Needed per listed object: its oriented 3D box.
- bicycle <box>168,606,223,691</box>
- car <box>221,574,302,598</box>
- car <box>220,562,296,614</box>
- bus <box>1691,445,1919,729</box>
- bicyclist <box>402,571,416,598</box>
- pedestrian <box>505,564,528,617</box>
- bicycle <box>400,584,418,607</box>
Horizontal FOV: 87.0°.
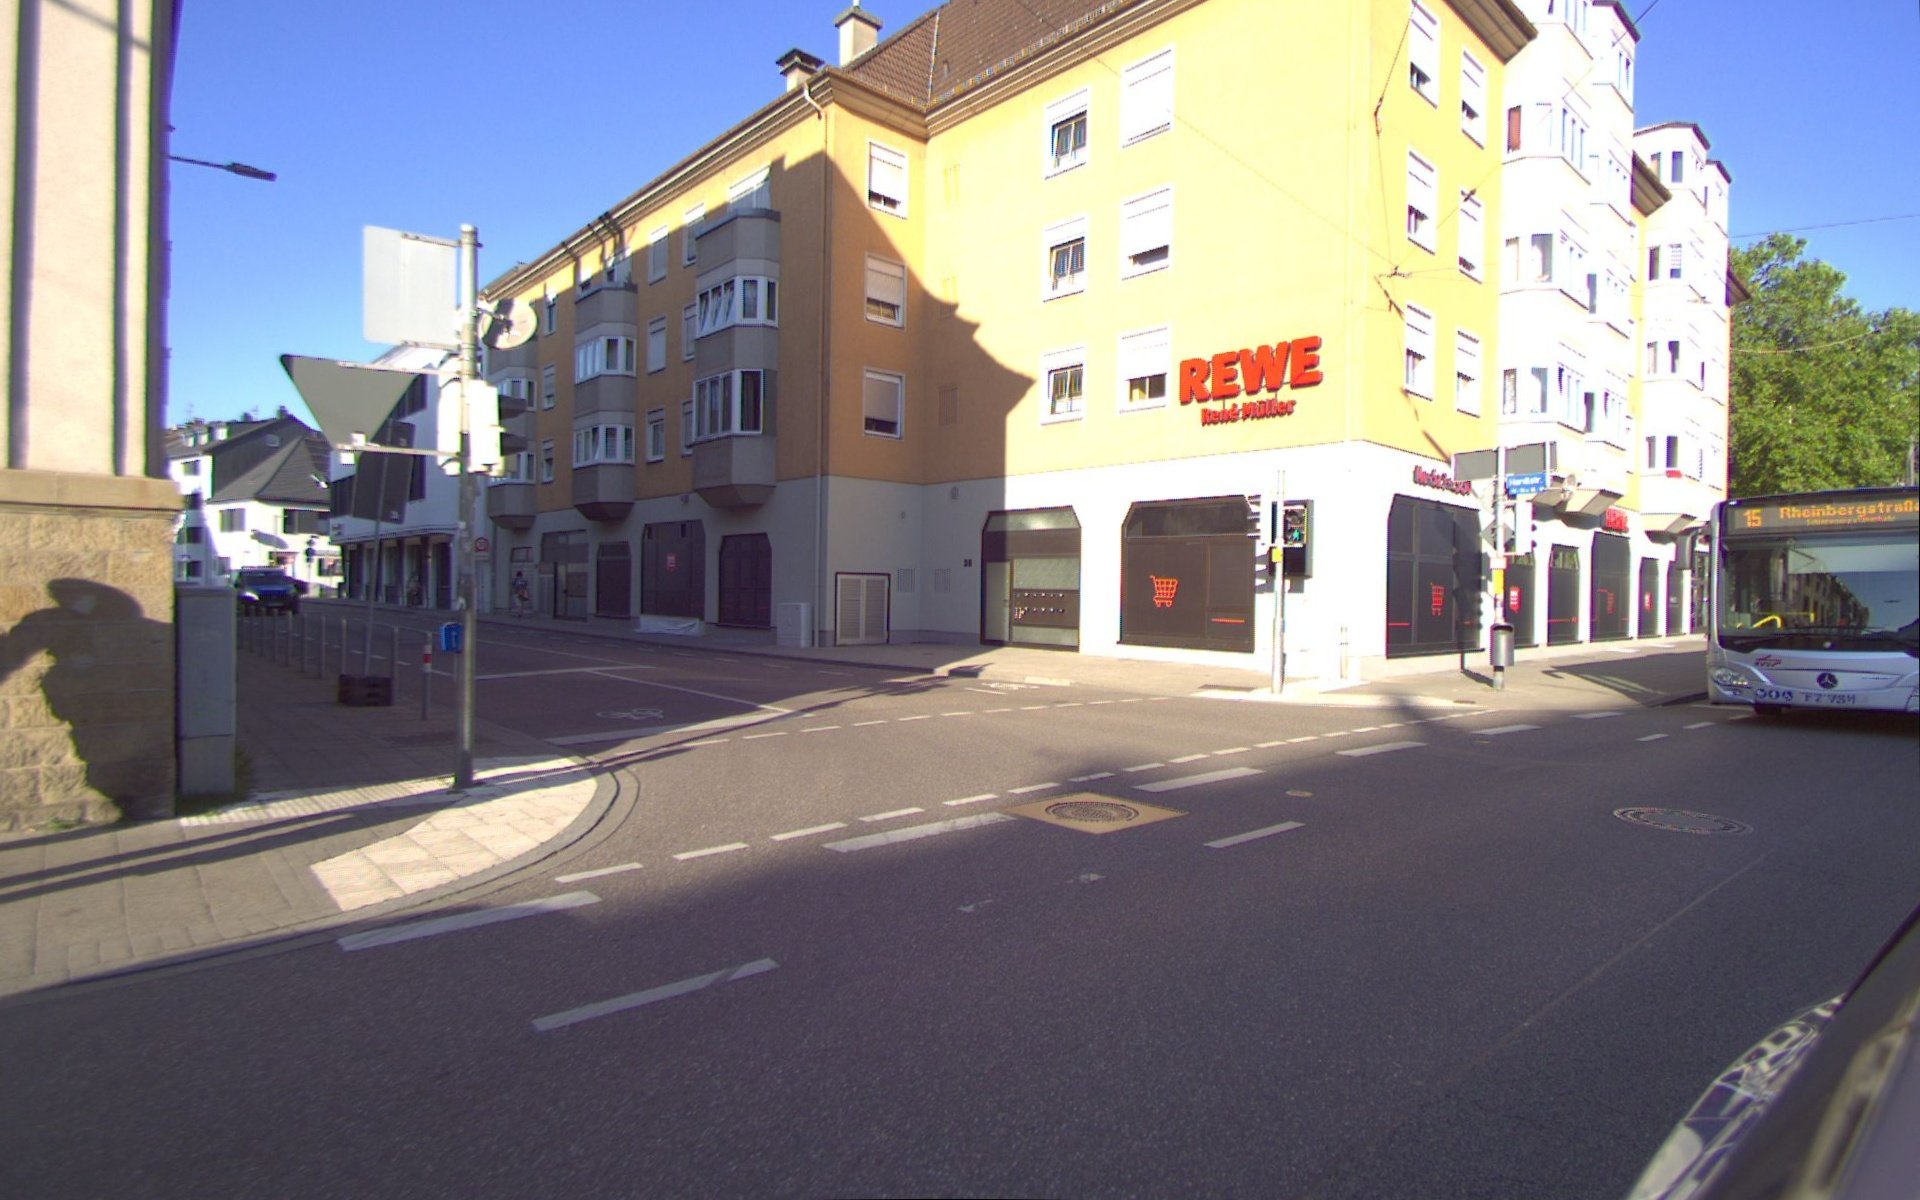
[{"bbox_3d":[-9.852,0.594,13.068,0.244,1.030,1.510,-1,0,-25],"label":"bicycle"},{"bbox_3d":[-50.555,-1.003,73.344,1.991,1.677,4.497,-1,0,41],"label":"car"},{"bbox_3d":[-28.876,-0.517,41.566,1.967,2.025,4.477,-1,2,-43],"label":"car"},{"bbox_3d":[16.833,-0.210,17.646,17.432,3.189,2.771,-1,0,-41],"label":"bus"},{"bbox_3d":[-26.300,-0.746,48.303,0.478,1.310,0.499,-1,1,-43],"label":"bicyclist"},{"bbox_3d":[-16.883,-0.378,38.540,0.706,1.977,0.687,-3,1,-25],"label":"pedestrian"},{"bbox_3d":[-26.286,-0.224,48.286,0.478,1.090,1.311,-1,1,-42],"label":"bicycle"}]
